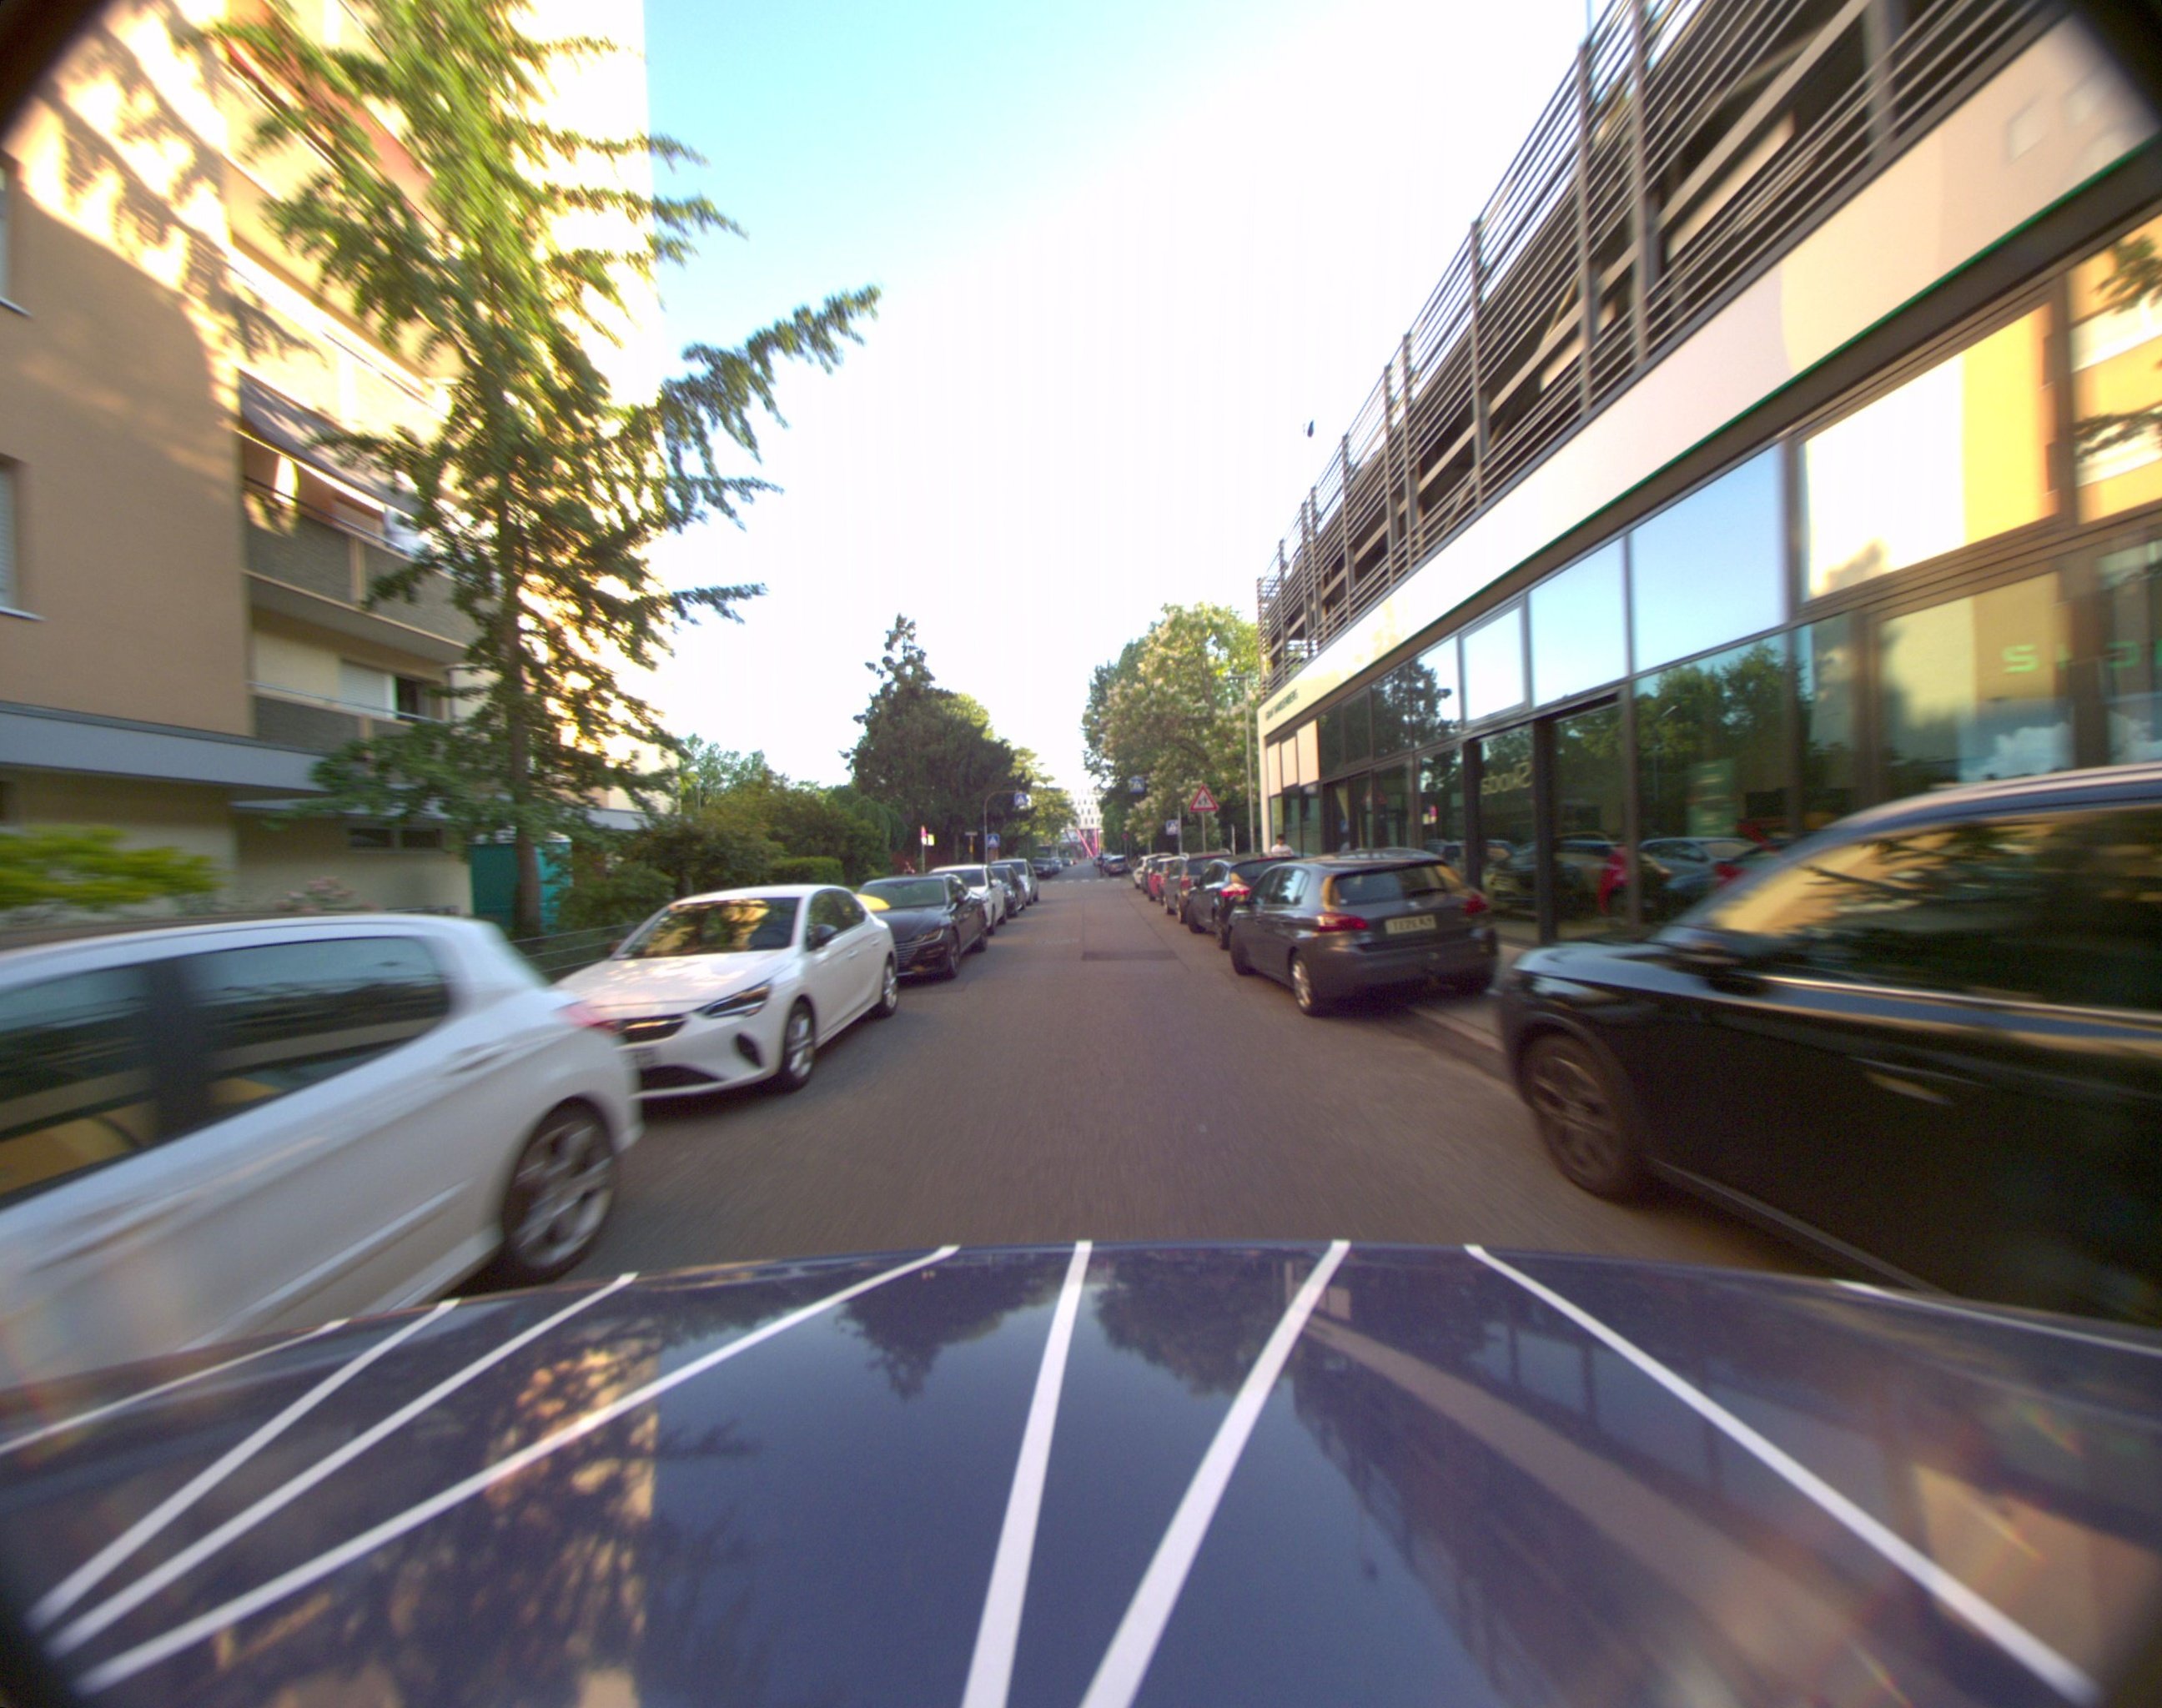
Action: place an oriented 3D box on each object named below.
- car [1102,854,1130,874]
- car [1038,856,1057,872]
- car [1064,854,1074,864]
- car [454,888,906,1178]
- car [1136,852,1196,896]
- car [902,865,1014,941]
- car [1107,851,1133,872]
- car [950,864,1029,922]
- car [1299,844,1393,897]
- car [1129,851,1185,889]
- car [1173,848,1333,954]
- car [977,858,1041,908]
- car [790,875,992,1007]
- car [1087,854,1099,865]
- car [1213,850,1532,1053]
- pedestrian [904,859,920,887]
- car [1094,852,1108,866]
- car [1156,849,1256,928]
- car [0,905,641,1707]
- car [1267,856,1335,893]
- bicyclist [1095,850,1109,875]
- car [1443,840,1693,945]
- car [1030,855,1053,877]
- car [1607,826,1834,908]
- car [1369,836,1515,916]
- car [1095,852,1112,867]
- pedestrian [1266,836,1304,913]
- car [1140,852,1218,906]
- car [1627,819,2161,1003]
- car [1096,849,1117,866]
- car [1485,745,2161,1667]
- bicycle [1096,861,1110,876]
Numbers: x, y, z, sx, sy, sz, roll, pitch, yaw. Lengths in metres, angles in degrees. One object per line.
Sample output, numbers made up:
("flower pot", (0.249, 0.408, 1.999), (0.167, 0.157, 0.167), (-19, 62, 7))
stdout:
("car", (2.873, 0.818, 62.783), (1.786, 1.442, 3.884), (-8, 0, -2))
("car", (-3.229, 0.977, 74.241), (1.786, 1.491, 3.884), (1, 0, -2))
("car", (-2.407, 0.969, 152.392), (1.999, 1.739, 3.999), (-3, 0, -2))
("car", (-2.783, 1.124, 6.418), (1.614, 1.452, 4.054), (-2, 0, 0))
("car", (3.282, 0.754, 30.039), (1.666, 1.407, 4.413), (-8, 0, -1))
("car", (-2.641, 1.017, 17.196), (1.814, 1.408, 3.896), (-2, 0, 1))
("car", (3.426, 0.692, 67.464), (1.786, 1.568, 3.884), (-8, 0, -2))
("car", (-2.515, 1.034, 21.841), (1.721, 1.411, 4.027), (-2, 0, 0))
("car", (8.372, 0.494, 24.365), (1.597, 1.513, 3.876), (-2, 0, 0))
("car", (3.385, 0.713, 34.591), (1.666, 1.505, 3.883), (-6, 0, -6))
("car", (2.856, 0.728, 13.565), (1.733, 1.394, 4.006), (-8, 0, -1))
("car", (-2.428, 0.954, 26.589), (1.814, 1.566, 3.884), (-2, 0, 0))
("car", (-2.551, 1.112, 11.426), (1.814, 1.408, 4.625), (-2, 0, 0))
("car", (2.259, 1.026, 145.249), (1.786, 1.772, 4.011), (-8, 0, -2))
("car", (2.751, 0.823, 8.330), (1.942, 1.587, 4.206), (-2, -1, 2))
("pedestrian", (-10.582, 1.210, 47.648), (0.826, 1.716, 0.860), (2, 1, -19))
("car", (3.105, 0.819, 120.158), (1.786, 2.025, 3.884), (-8, 0, -2))
("car", (2.873, 0.738, 18.279), (1.666, 1.488, 3.885), (-8, 0, 1))
("car", (-2.925, 1.034, 1.338), (1.796, 1.553, 4.193), (-2, 0, 0))
("car", (8.509, 0.761, 29.640), (1.597, 1.286, 3.451), (-2, 0, -1))
("bicyclist", (1.591, 0.622, 56.992), (0.861, 1.797, 1.016), (-2, 0, -5))
("car", (8.270, 0.580, 13.439), (1.702, 1.506, 4.192), (-2, 0, 0))
("car", (-3.232, 0.945, 62.758), (1.786, 1.743, 3.884), (0, 0, -2))
("car", (13.882, 0.261, 16.840), (1.702, 1.552, 3.920), (-2, 0, 0))
("car", (8.469, 0.483, 18.206), (1.597, 1.640, 3.876), (-2, 0, 0))
("car", (3.278, 0.833, 109.259), (1.964, 1.825, 3.884), (-8, 0, -2))
("pedestrian", (5.093, 0.498, 18.969), (0.722, 1.867, 0.620), (-2, 0, 1))
("car", (3.045, 0.760, 24.403), (1.666, 1.402, 3.926), (-7, 0, -3))
("car", (8.396, 0.496, 8.484), (1.702, 1.506, 3.993), (-2, 0, 0))
("car", (2.734, 0.409, 82.825), (1.786, 1.562, 3.884), (-8, 0, -2))
("car", (2.868, 0.639, 1.545), (1.702, 1.746, 4.403), (-2, 0, 0))
("bicycle", (1.640, 1.109, 56.966), (0.761, 1.090, 1.863), (-1, 0, -5))
